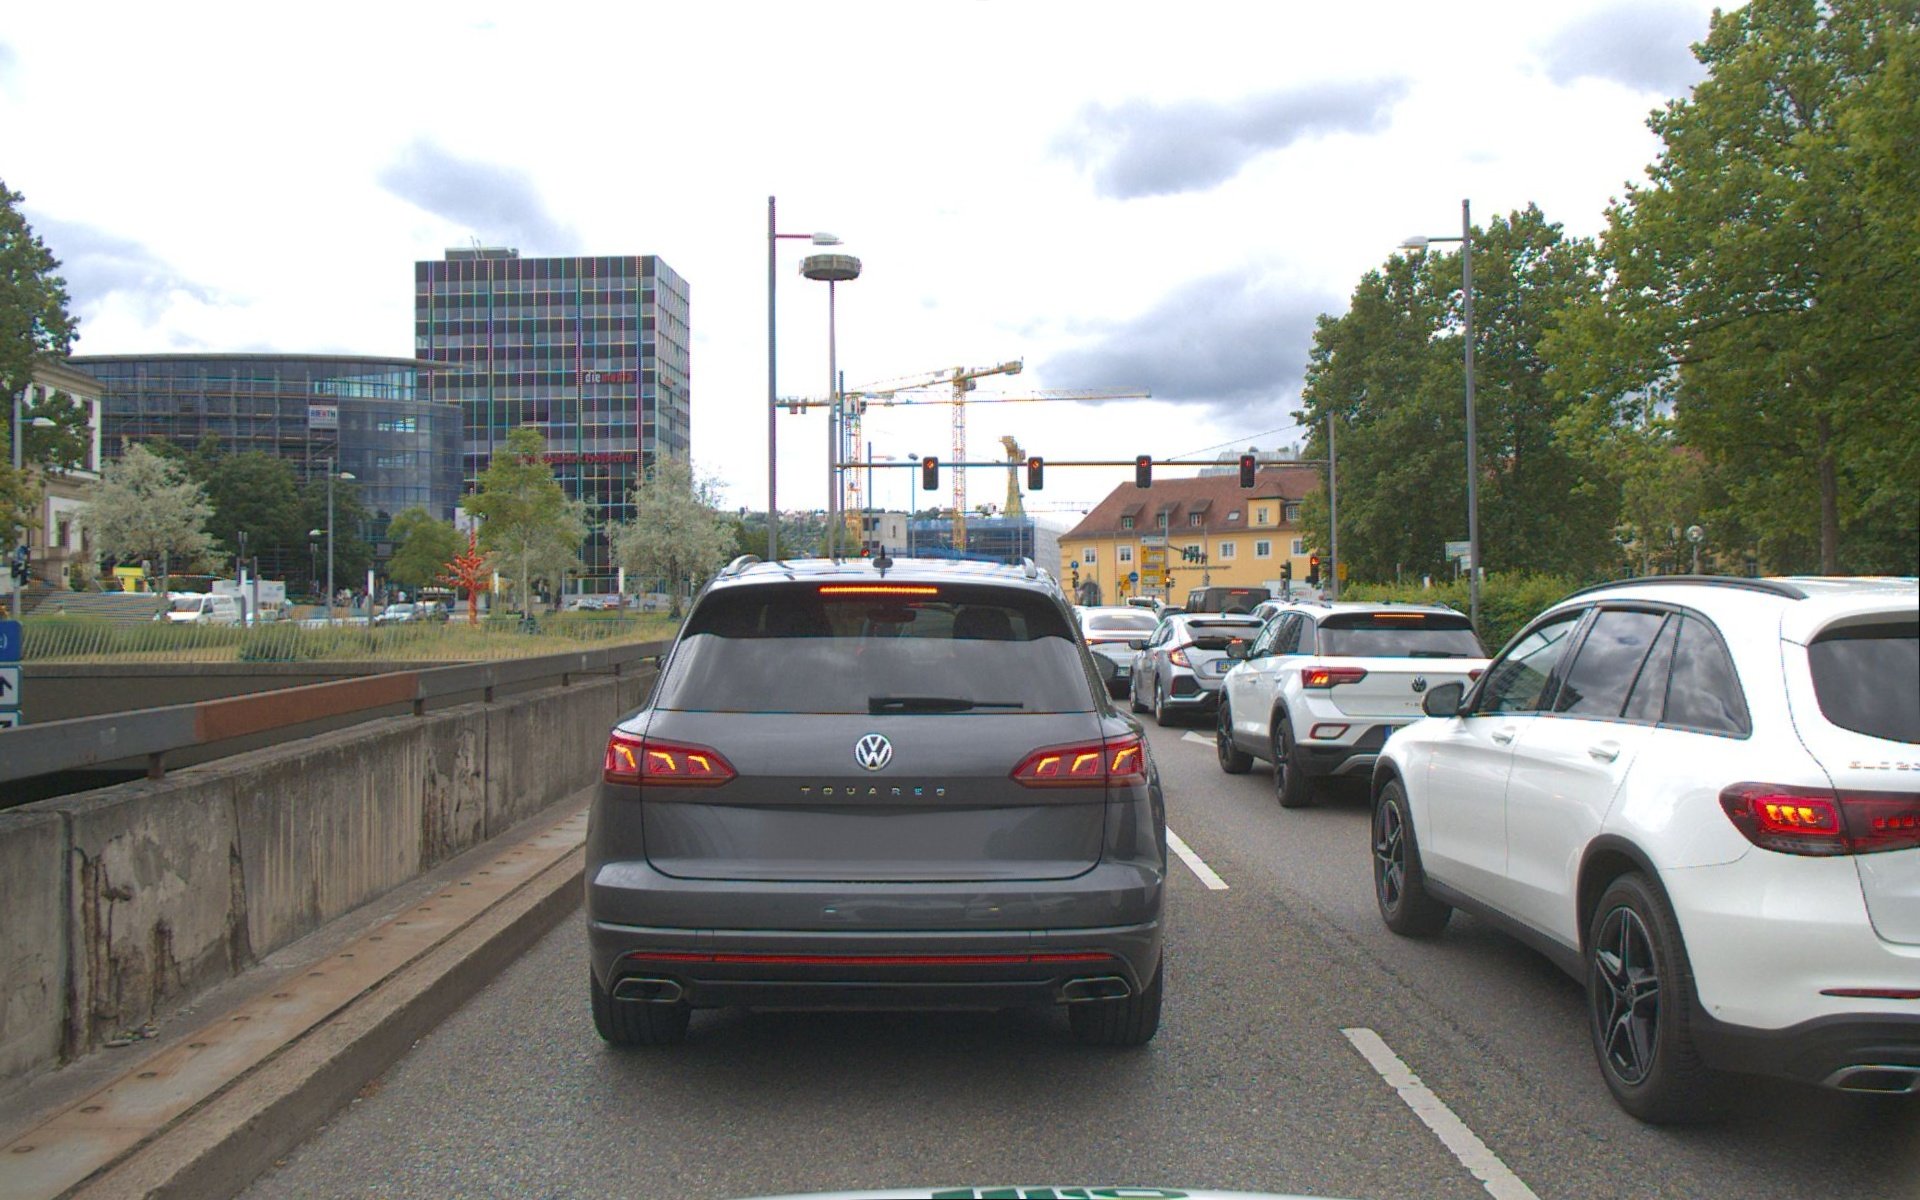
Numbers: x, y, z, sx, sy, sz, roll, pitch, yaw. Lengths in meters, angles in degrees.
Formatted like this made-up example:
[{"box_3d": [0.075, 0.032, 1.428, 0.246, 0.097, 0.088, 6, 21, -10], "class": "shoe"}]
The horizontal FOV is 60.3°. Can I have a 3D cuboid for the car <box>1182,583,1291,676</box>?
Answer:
[{"box_3d": [6.481, 0.685, 39.197, 1.871, 2.049, 4.011, 2, -1, 0], "class": "car"}]

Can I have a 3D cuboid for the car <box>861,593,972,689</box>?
[{"box_3d": [-0.801, 0.724, 31.000, 1.912, 1.628, 3.930, 2, 0, -1], "class": "car"}]

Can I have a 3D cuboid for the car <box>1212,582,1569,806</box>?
[{"box_3d": [3.410, 0.695, 14.024, 1.887, 1.578, 4.489, 1, -1, 0], "class": "car"}]

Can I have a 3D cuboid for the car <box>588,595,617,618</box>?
[{"box_3d": [-34.564, 0.597, 159.809, 1.966, 2.048, 4.661, -1, 1, -22], "class": "car"}]

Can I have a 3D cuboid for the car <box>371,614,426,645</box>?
[{"box_3d": [-28.911, 1.510, 85.213, 1.697, 1.521, 3.592, 2, -1, -3], "class": "car"}]

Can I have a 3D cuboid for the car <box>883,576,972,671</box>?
[{"box_3d": [-0.756, 0.532, 38.537, 1.912, 2.053, 3.930, 2, 0, -1], "class": "car"}]

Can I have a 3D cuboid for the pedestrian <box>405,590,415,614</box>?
[{"box_3d": [-46.574, 0.176, 140.073, 0.726, 2.049, 0.789, -1, 1, -16], "class": "pedestrian"}]

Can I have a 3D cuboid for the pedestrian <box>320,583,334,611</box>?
[{"box_3d": [-45.548, -0.219, 118.992, 0.723, 2.049, 0.793, -1, 1, 0], "class": "pedestrian"}]

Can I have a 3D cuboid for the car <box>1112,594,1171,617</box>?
[{"box_3d": [13.809, 0.415, 125.702, 4.142, 1.631, 1.746, 1, -1, 36], "class": "car"}]

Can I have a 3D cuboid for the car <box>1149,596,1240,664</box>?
[{"box_3d": [6.301, 0.798, 44.773, 1.871, 1.727, 4.011, 2, -1, 0], "class": "car"}]

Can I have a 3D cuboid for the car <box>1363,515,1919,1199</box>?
[{"box_3d": [2.986, 0.643, 6.200, 1.887, 1.682, 4.490, 0, 0, 0], "class": "car"}]

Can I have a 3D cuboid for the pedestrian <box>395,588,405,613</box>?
[{"box_3d": [-47.368, 0.048, 139.905, 0.726, 2.049, 0.789, -1, 1, -16], "class": "pedestrian"}]

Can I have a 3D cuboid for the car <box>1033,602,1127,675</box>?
[{"box_3d": [2.683, 0.851, 37.769, 1.887, 1.556, 4.047, 1, -1, 0], "class": "car"}]

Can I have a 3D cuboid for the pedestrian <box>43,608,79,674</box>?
[{"box_3d": [-28.792, 1.304, 52.970, 0.856, 2.049, 0.619, -1, 1, -45], "class": "pedestrian"}]

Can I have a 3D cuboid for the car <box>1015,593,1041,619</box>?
[{"box_3d": [4.552, 0.423, 111.456, 1.586, 1.656, 3.999, 2, -1, 0], "class": "car"}]

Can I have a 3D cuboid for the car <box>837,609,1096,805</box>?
[{"box_3d": [0.019, 0.812, 14.384, 1.912, 1.408, 3.930, 2, 0, -1], "class": "car"}]

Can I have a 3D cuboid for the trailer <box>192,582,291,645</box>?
[{"box_3d": [-31.643, 0.545, 73.038, 1.996, 2.650, 5.507, 2, 1, -1], "class": "trailer"}]

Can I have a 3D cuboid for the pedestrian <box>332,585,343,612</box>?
[{"box_3d": [-46.692, -0.108, 124.037, 0.727, 2.049, 0.915, -1, 1, -20], "class": "pedestrian"}]

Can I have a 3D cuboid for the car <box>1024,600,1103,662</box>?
[{"box_3d": [2.705, 0.819, 44.057, 1.887, 1.556, 4.047, 1, -1, 0], "class": "car"}]

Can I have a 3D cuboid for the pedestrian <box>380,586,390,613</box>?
[{"box_3d": [-44.586, -0.059, 128.256, 0.726, 2.049, 0.789, -1, 1, -16], "class": "pedestrian"}]

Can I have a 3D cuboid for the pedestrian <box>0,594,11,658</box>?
[{"box_3d": [-31.400, 0.850, 53.860, 0.825, 2.049, 0.785, -1, 0, -29], "class": "pedestrian"}]

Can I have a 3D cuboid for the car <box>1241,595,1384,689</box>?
[{"box_3d": [6.731, 0.744, 32.006, 1.952, 1.668, 4.305, 0, 1, 2], "class": "car"}]

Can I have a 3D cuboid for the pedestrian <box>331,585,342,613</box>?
[{"box_3d": [-47.253, -0.091, 125.356, 0.729, 2.049, 0.914, -1, 1, -24], "class": "pedestrian"}]

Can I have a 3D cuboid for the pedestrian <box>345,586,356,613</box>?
[{"box_3d": [-46.130, -0.062, 125.229, 0.728, 2.049, 0.915, -1, 1, -21], "class": "pedestrian"}]

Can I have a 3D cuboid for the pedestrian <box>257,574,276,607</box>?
[{"box_3d": [-43.910, -0.621, 104.725, 0.724, 2.049, 1.113, -1, 1, -6], "class": "pedestrian"}]

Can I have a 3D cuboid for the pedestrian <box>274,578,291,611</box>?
[{"box_3d": [-43.126, -0.333, 105.306, 0.723, 2.049, 0.792, 0, -2, -3], "class": "pedestrian"}]

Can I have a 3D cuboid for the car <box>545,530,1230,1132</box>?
[{"box_3d": [-0.232, 0.654, 6.645, 1.912, 1.680, 3.999, 0, 0, -1], "class": "car"}]

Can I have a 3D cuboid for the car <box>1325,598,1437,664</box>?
[{"box_3d": [10.220, 0.768, 40.419, 1.891, 1.485, 4.529, 1, -1, 4], "class": "car"}]

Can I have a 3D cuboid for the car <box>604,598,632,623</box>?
[{"box_3d": [-30.029, 0.933, 145.299, 1.955, 2.048, 4.687, 0, 1, -5], "class": "car"}]

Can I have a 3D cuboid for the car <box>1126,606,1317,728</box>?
[{"box_3d": [3.385, 0.839, 22.234, 1.887, 1.457, 4.489, 1, -1, 0], "class": "car"}]

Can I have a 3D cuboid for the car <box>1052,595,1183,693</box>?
[{"box_3d": [2.668, 0.738, 28.950, 1.887, 1.556, 4.489, 1, -1, 0], "class": "car"}]

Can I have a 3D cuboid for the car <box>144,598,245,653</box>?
[{"box_3d": [-31.373, 1.007, 67.941, 1.953, 2.048, 4.692, 0, 1, 0], "class": "car"}]

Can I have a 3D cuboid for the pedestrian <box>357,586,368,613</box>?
[{"box_3d": [-45.441, -0.017, 125.852, 0.728, 2.049, 1.076, -1, 1, -22], "class": "pedestrian"}]

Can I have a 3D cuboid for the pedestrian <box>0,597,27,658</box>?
[{"box_3d": [-32.928, 0.941, 57.400, 0.716, 2.047, 0.628, -1, 4, -8], "class": "pedestrian"}]
